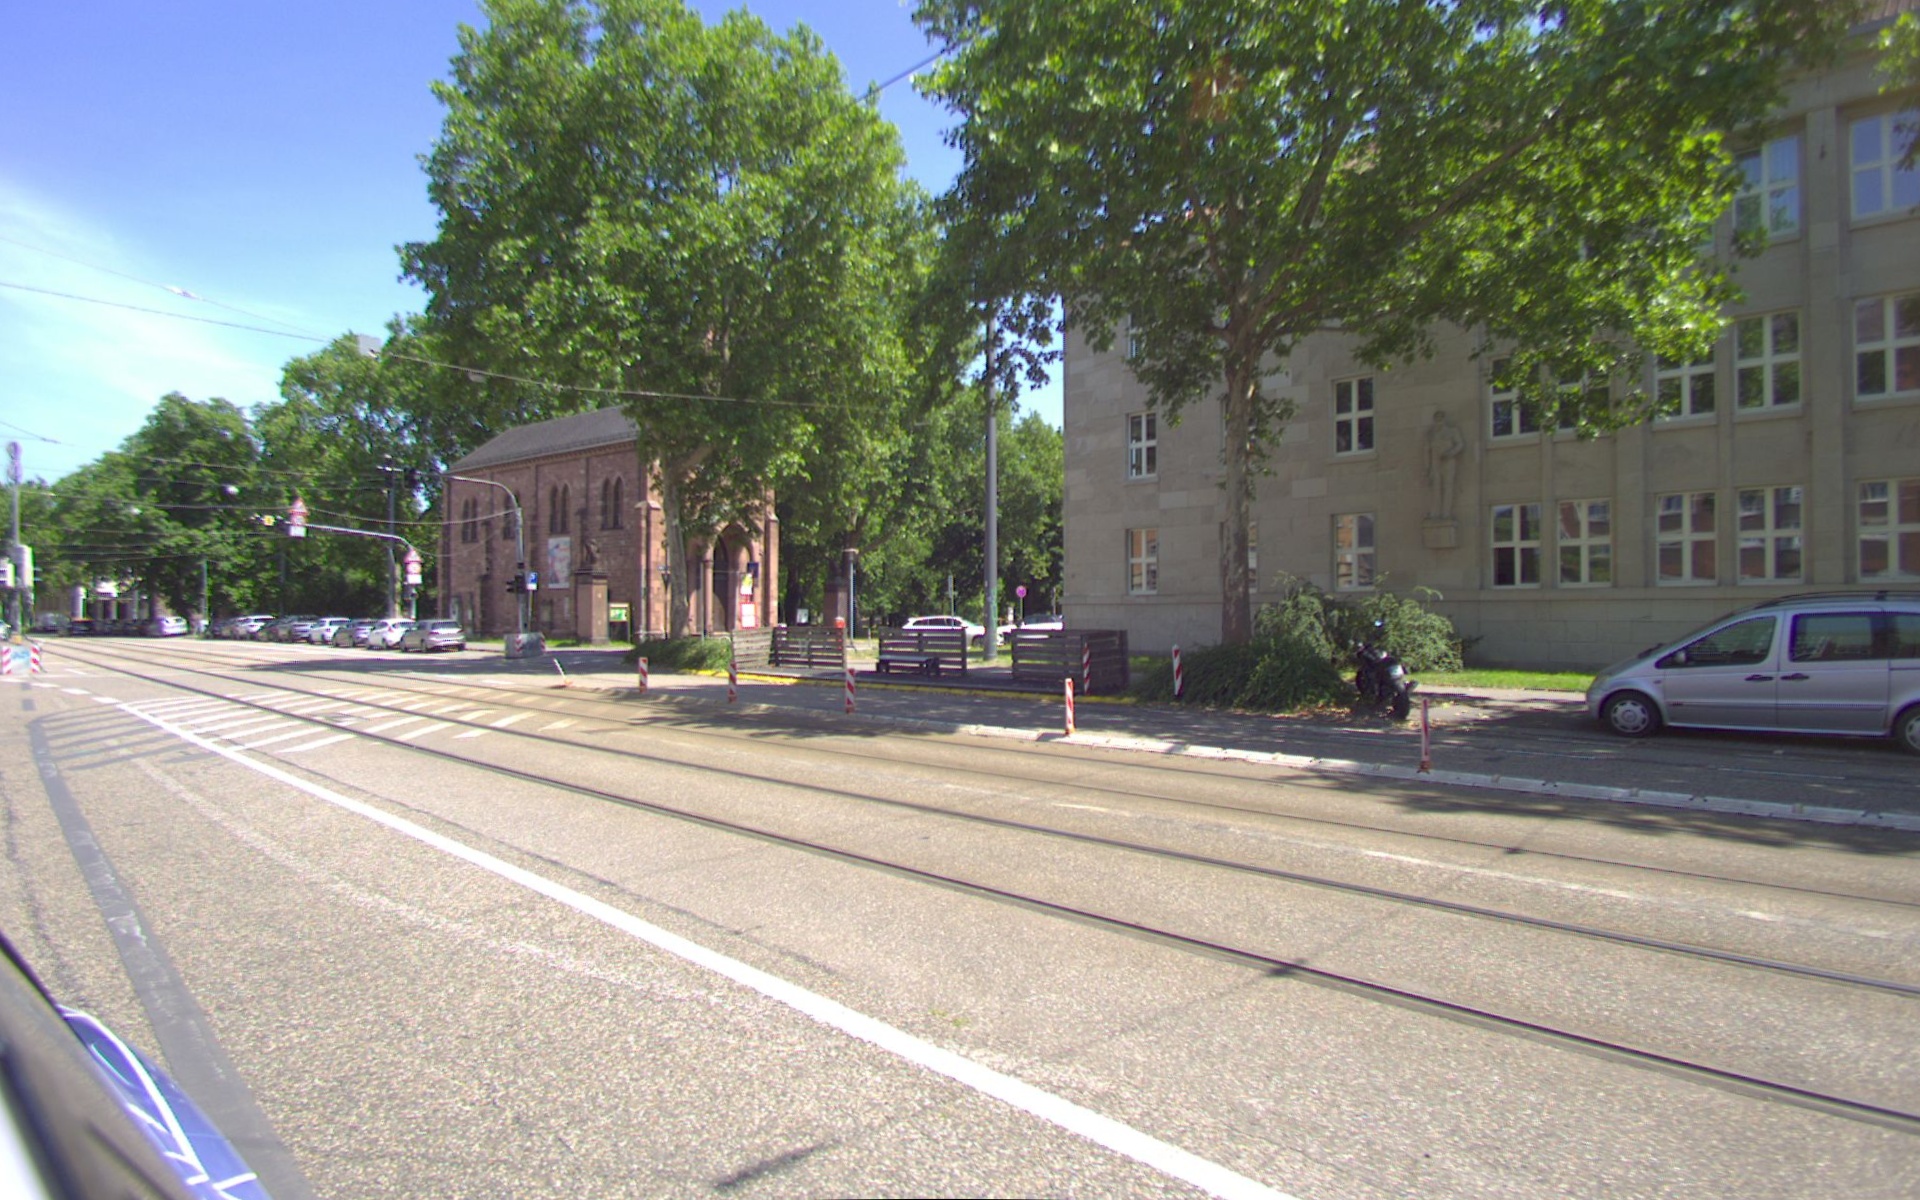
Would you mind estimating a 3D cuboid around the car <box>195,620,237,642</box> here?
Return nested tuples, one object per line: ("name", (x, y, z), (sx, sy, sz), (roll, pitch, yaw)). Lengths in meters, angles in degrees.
("car", (-54.932, 2.269, 74.713), (4.187, 1.509, 1.724), (-1, -1, 43))

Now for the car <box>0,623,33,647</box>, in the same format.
("car", (-64.757, 2.354, 69.275), (1.775, 1.586, 4.002), (0, -1, -45))

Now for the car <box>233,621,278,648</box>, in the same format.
("car", (-46.762, 2.276, 67.142), (3.907, 1.665, 1.723), (-1, -1, 45))

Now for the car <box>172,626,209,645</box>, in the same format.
("car", (-59.032, 2.676, 77.638), (3.765, 1.390, 1.628), (-1, -1, 42))

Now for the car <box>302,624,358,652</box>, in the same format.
("car", (-35.180, 2.099, 56.492), (3.753, 1.470, 1.724), (-1, -1, 42))

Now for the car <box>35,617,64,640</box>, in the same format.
("car", (-93.532, 2.926, 103.966), (3.760, 2.314, 1.798), (-1, -1, 41))

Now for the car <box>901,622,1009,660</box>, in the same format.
("car", (-0.188, 1.766, 43.889), (4.484, 1.520, 1.910), (-1, -1, 9))

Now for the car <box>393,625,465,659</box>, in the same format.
("car", (-24.125, 1.875, 45.915), (4.222, 1.470, 1.640), (-1, -1, 44))

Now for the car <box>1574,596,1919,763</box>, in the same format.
("car", (10.389, 0.889, 12.623), (1.970, 1.824, 4.303), (0, -1, -45))

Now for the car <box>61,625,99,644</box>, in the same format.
("car", (-71.123, 2.763, 81.766), (4.344, 1.405, 1.728), (-1, -1, 41))

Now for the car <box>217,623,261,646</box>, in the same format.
("car", (-50.465, 2.418, 70.817), (4.187, 1.509, 1.724), (-1, -1, 43))

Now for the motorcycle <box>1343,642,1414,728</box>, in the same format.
("motorcycle", (6.633, 1.319, 16.139), (0.720, 1.076, 1.865), (-1, 4, 12))

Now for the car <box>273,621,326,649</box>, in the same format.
("car", (-39.109, 2.040, 59.887), (3.753, 1.535, 1.724), (-1, -1, 42))

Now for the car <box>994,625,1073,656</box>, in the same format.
("car", (3.546, 1.912, 48.400), (3.557, 1.387, 1.714), (-1, -1, 12))

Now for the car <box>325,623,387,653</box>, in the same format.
("car", (-31.446, 1.935, 52.650), (4.058, 1.470, 1.640), (-1, -1, 43))

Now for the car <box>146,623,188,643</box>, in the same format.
("car", (-64.250, 2.650, 81.998), (3.997, 1.575, 1.952), (-1, -1, 41))

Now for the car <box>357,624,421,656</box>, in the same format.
("car", (-27.813, 1.930, 49.234), (4.059, 1.470, 1.640), (-1, -1, 44))

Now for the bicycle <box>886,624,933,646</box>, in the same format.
("bicycle", (-2.092, 1.454, 41.882), (1.896, 0.907, 0.639), (-1, -1, 24))

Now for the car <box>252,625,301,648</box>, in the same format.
("car", (-42.983, 2.263, 63.637), (3.999, 1.386, 1.649), (-1, -1, 42))
